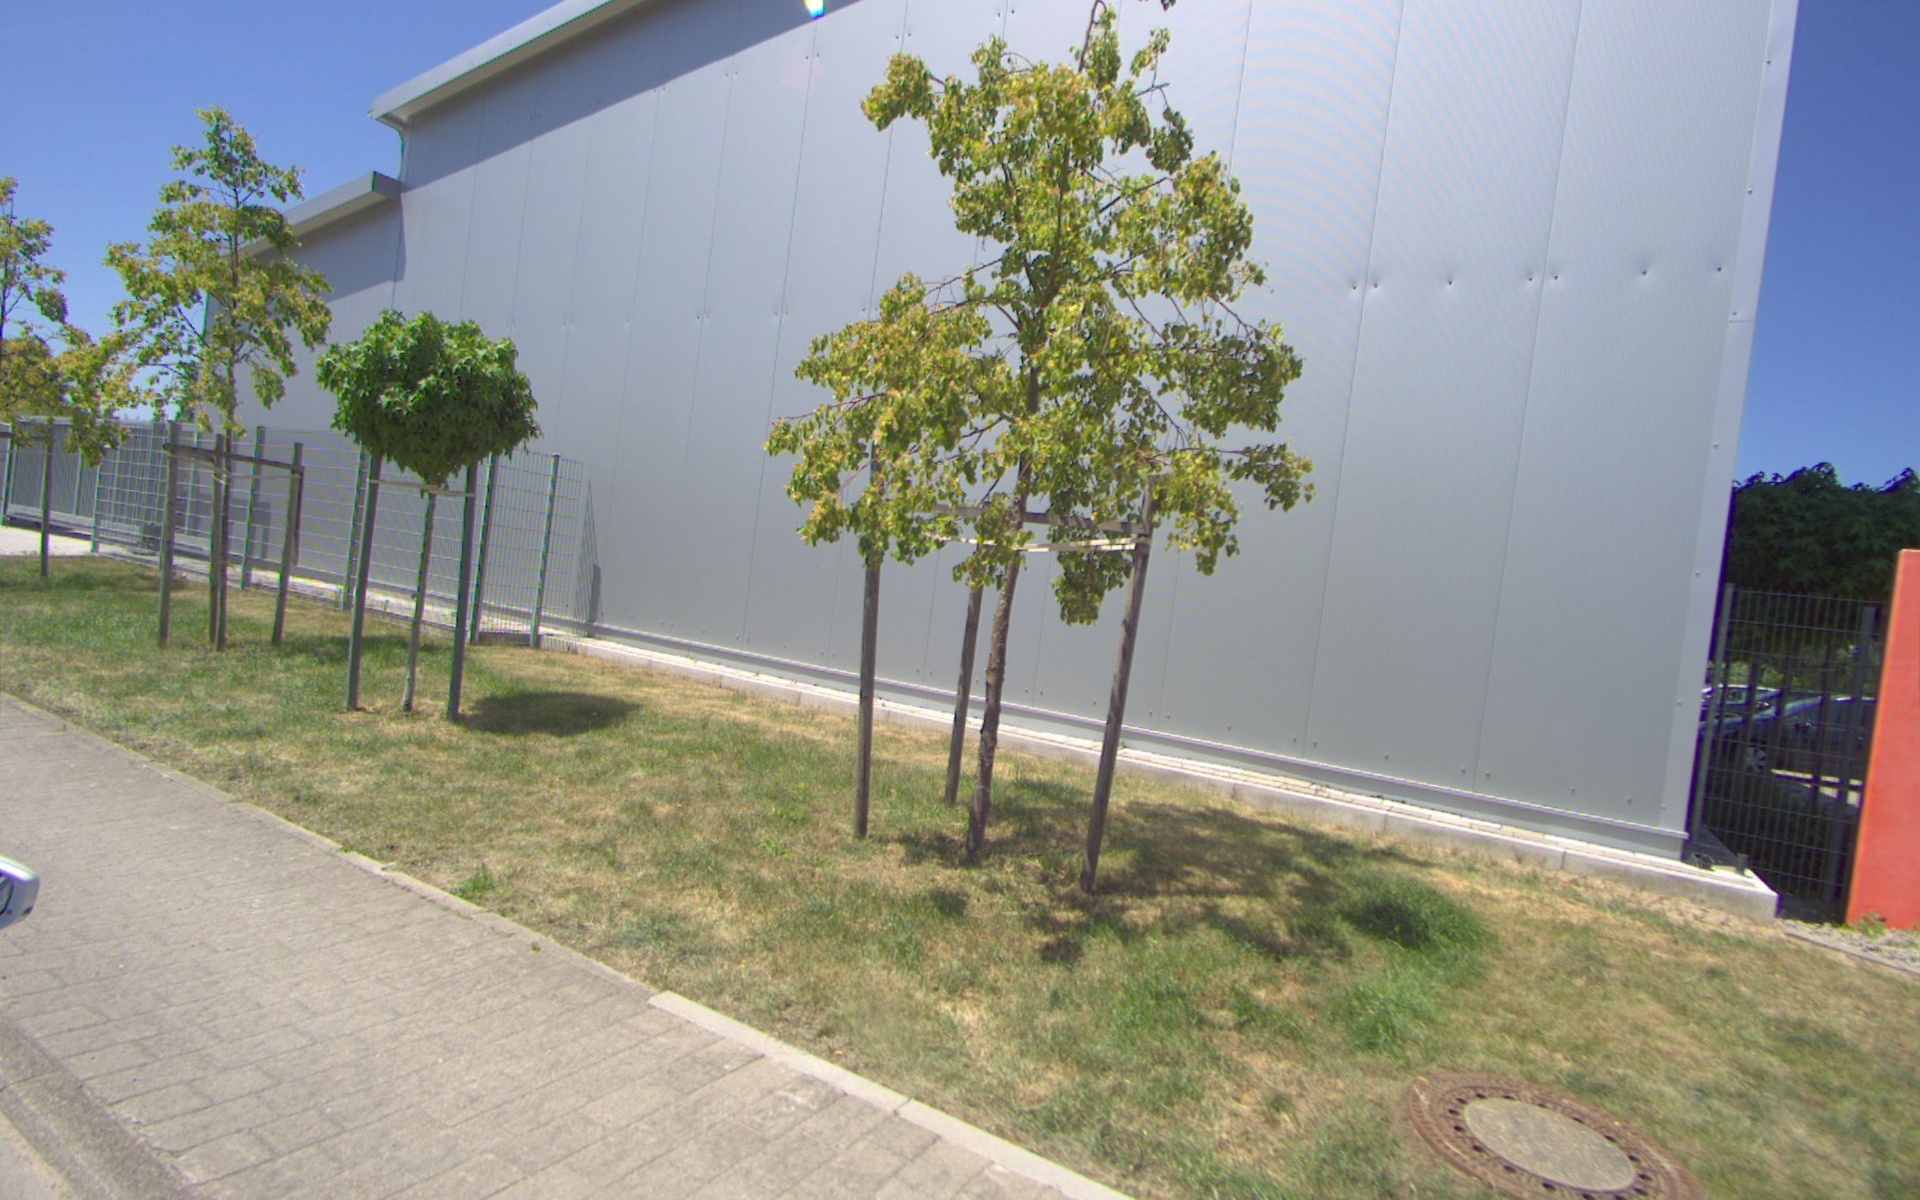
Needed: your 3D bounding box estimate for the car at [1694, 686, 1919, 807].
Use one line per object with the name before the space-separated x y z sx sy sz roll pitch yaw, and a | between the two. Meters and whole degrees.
car | 16.195 2.684 18.215 4.275 1.698 1.999 6 -1 27
